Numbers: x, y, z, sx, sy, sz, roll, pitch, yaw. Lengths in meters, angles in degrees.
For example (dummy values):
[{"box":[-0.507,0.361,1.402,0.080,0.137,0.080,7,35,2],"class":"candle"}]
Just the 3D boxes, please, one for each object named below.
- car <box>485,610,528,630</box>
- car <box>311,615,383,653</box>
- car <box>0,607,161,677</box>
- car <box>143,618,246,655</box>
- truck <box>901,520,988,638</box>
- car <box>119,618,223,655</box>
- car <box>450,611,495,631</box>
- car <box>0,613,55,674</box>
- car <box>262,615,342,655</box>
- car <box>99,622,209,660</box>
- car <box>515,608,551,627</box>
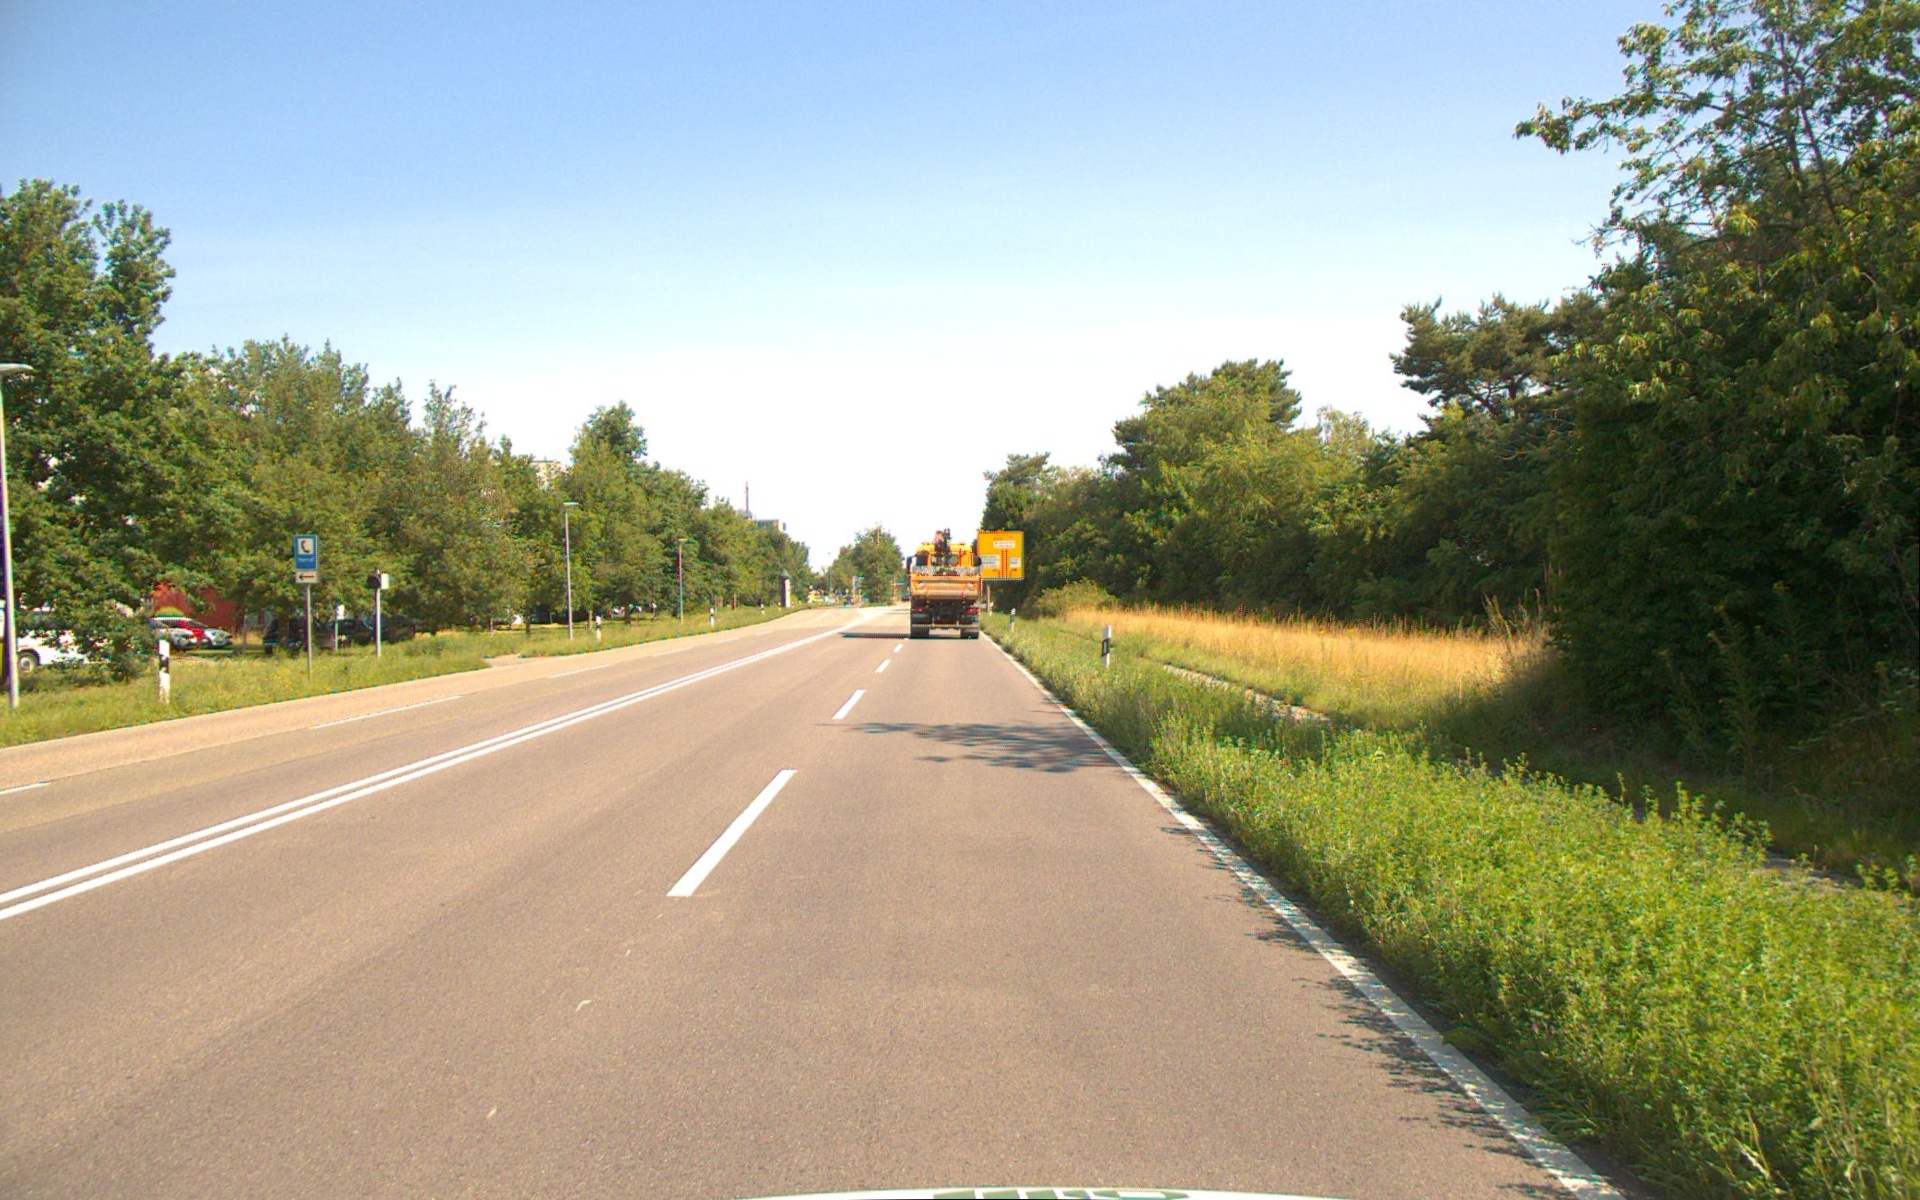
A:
[{"box":[-35.752,1.539,130.618,1.952,1.462,4.955,-1,0,1],"class":"car"},{"box":[-28.781,1.582,77.798,1.707,1.606,4.548,-1,0,-1],"class":"car"},{"box":[-26.936,1.219,49.734,2.028,1.963,5.007,-1,0,29],"class":"car"},{"box":[-36.460,1.711,78.856,4.052,1.613,1.742,-1,0,-2],"class":"car"},{"box":[-0.658,-0.732,59.993,2.814,3.948,7.395,1,0,-3],"class":"truck"},{"box":[-36.474,1.693,76.531,3.907,1.563,1.742,-1,0,-2],"class":"car"},{"box":[-38.295,1.609,129.974,1.952,1.462,4.955,-1,0,1],"class":"car"},{"box":[-30.478,1.356,50.149,2.028,1.838,5.007,-1,0,29],"class":"car"},{"box":[-28.626,1.505,72.116,1.707,1.606,4.548,-1,0,-1],"class":"car"},{"box":[-35.886,1.812,73.695,3.907,1.563,1.887,-1,0,-2],"class":"car"},{"box":[-36.276,1.480,140.572,1.953,1.462,4.609,-1,0,-1],"class":"car"}]
